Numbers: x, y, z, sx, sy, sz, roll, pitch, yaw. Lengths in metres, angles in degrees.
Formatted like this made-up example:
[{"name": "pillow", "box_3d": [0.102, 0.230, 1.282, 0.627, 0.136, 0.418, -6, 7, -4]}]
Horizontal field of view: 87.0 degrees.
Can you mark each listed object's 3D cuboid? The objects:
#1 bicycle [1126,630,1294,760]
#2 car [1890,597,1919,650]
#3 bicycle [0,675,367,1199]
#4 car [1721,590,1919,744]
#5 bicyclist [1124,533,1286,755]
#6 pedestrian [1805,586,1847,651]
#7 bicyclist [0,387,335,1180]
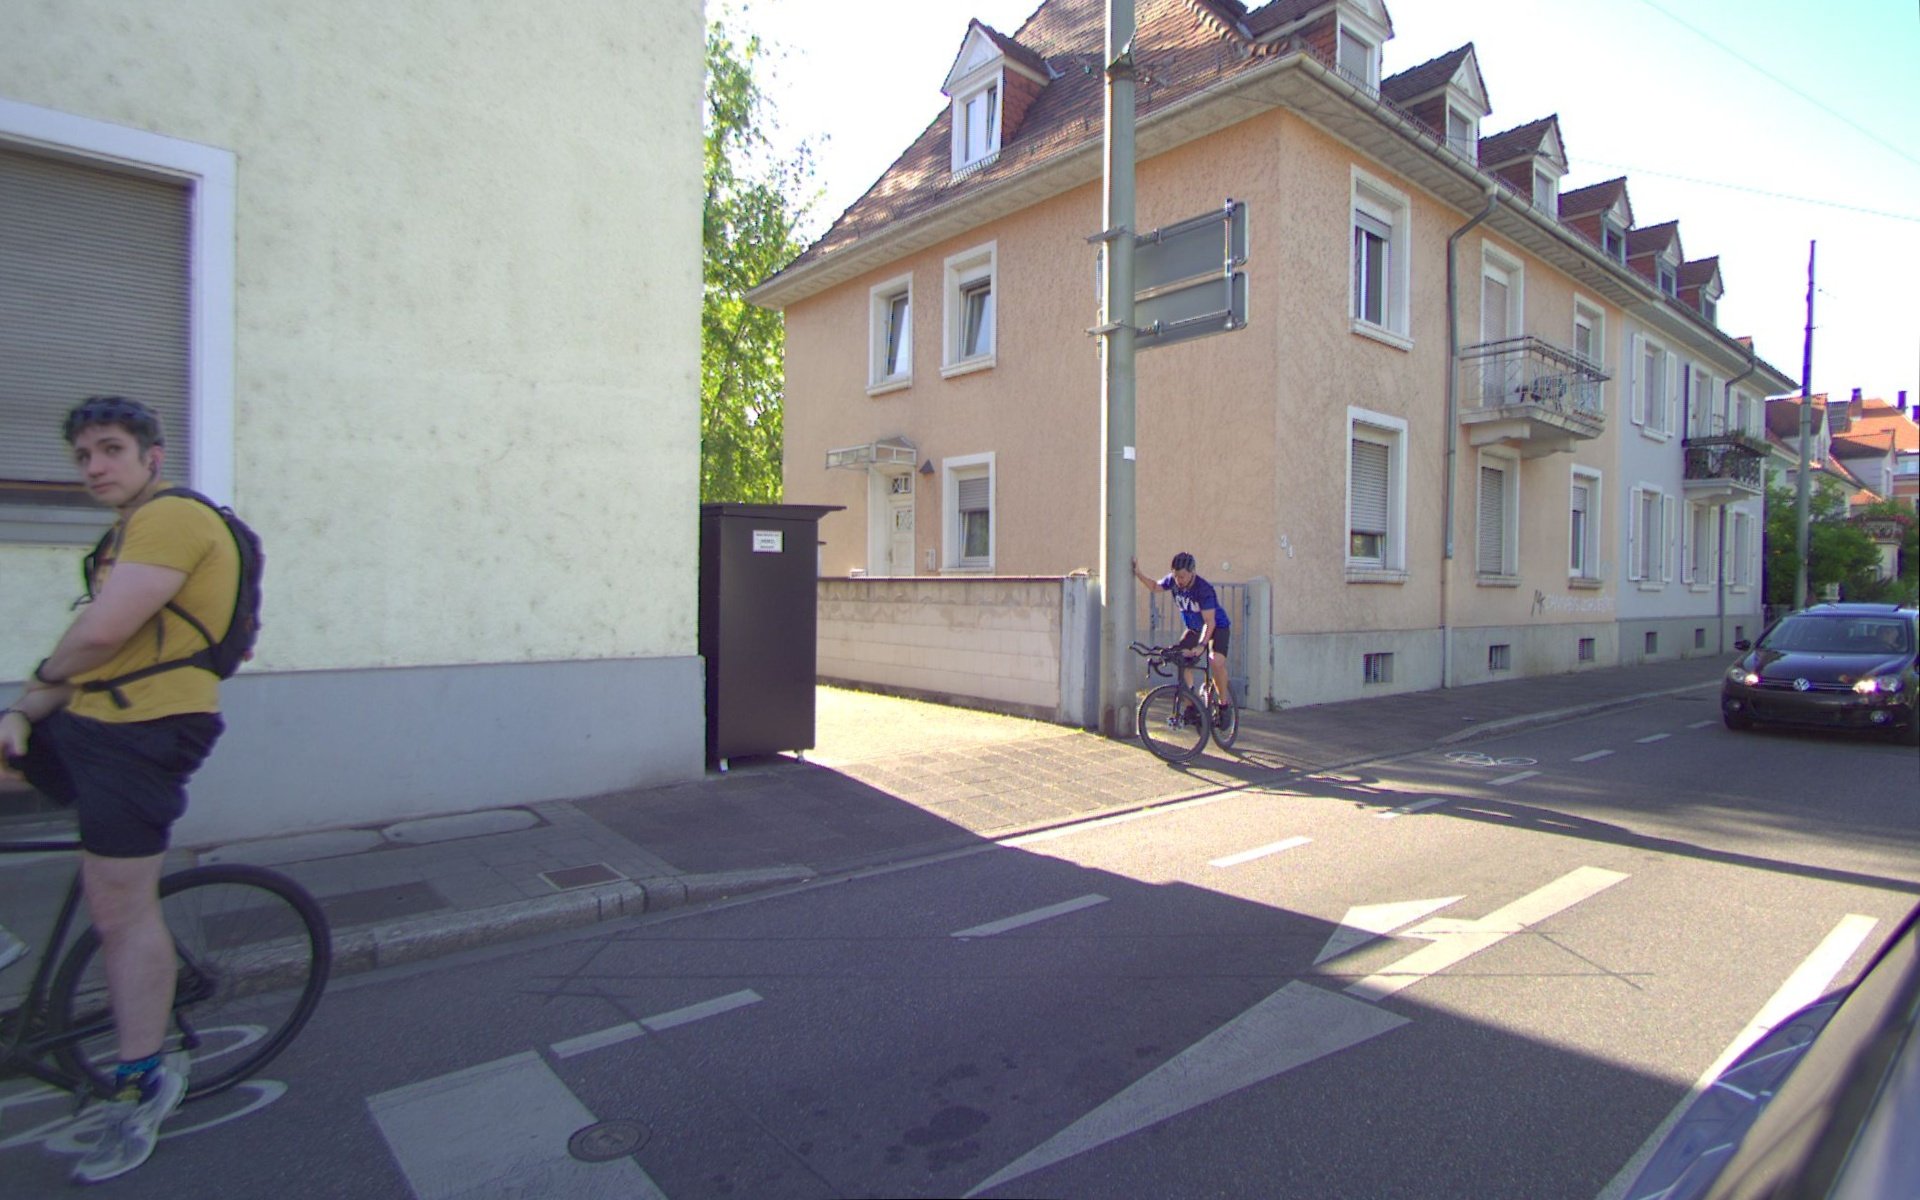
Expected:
[{"name": "bicycle", "box_3d": [2.301, 0.816, 9.203, 1.669, 1.003, 0.572, 0, 4, -41]}, {"name": "car", "box_3d": [26.681, 0.627, 27.339, 3.796, 1.382, 1.648, 0, 1, -38]}, {"name": "bicycle", "box_3d": [-2.491, 0.843, 2.528, 1.669, 1.180, 0.572, 0, 1, -41]}, {"name": "car", "box_3d": [10.761, 0.666, 12.164, 4.030, 1.541, 1.761, 0, 1, -41]}, {"name": "bicyclist", "box_3d": [2.268, 0.359, 9.428, 0.831, 1.887, 1.076, 0, 4, -40]}, {"name": "pedestrian", "box_3d": [22.994, 0.470, 26.879, 1.079, 1.682, 0.694, 0, 0, -41]}, {"name": "bicyclist", "box_3d": [-2.315, 0.420, 2.693, 1.018, 1.840, 0.653, 0, 1, -41]}]
